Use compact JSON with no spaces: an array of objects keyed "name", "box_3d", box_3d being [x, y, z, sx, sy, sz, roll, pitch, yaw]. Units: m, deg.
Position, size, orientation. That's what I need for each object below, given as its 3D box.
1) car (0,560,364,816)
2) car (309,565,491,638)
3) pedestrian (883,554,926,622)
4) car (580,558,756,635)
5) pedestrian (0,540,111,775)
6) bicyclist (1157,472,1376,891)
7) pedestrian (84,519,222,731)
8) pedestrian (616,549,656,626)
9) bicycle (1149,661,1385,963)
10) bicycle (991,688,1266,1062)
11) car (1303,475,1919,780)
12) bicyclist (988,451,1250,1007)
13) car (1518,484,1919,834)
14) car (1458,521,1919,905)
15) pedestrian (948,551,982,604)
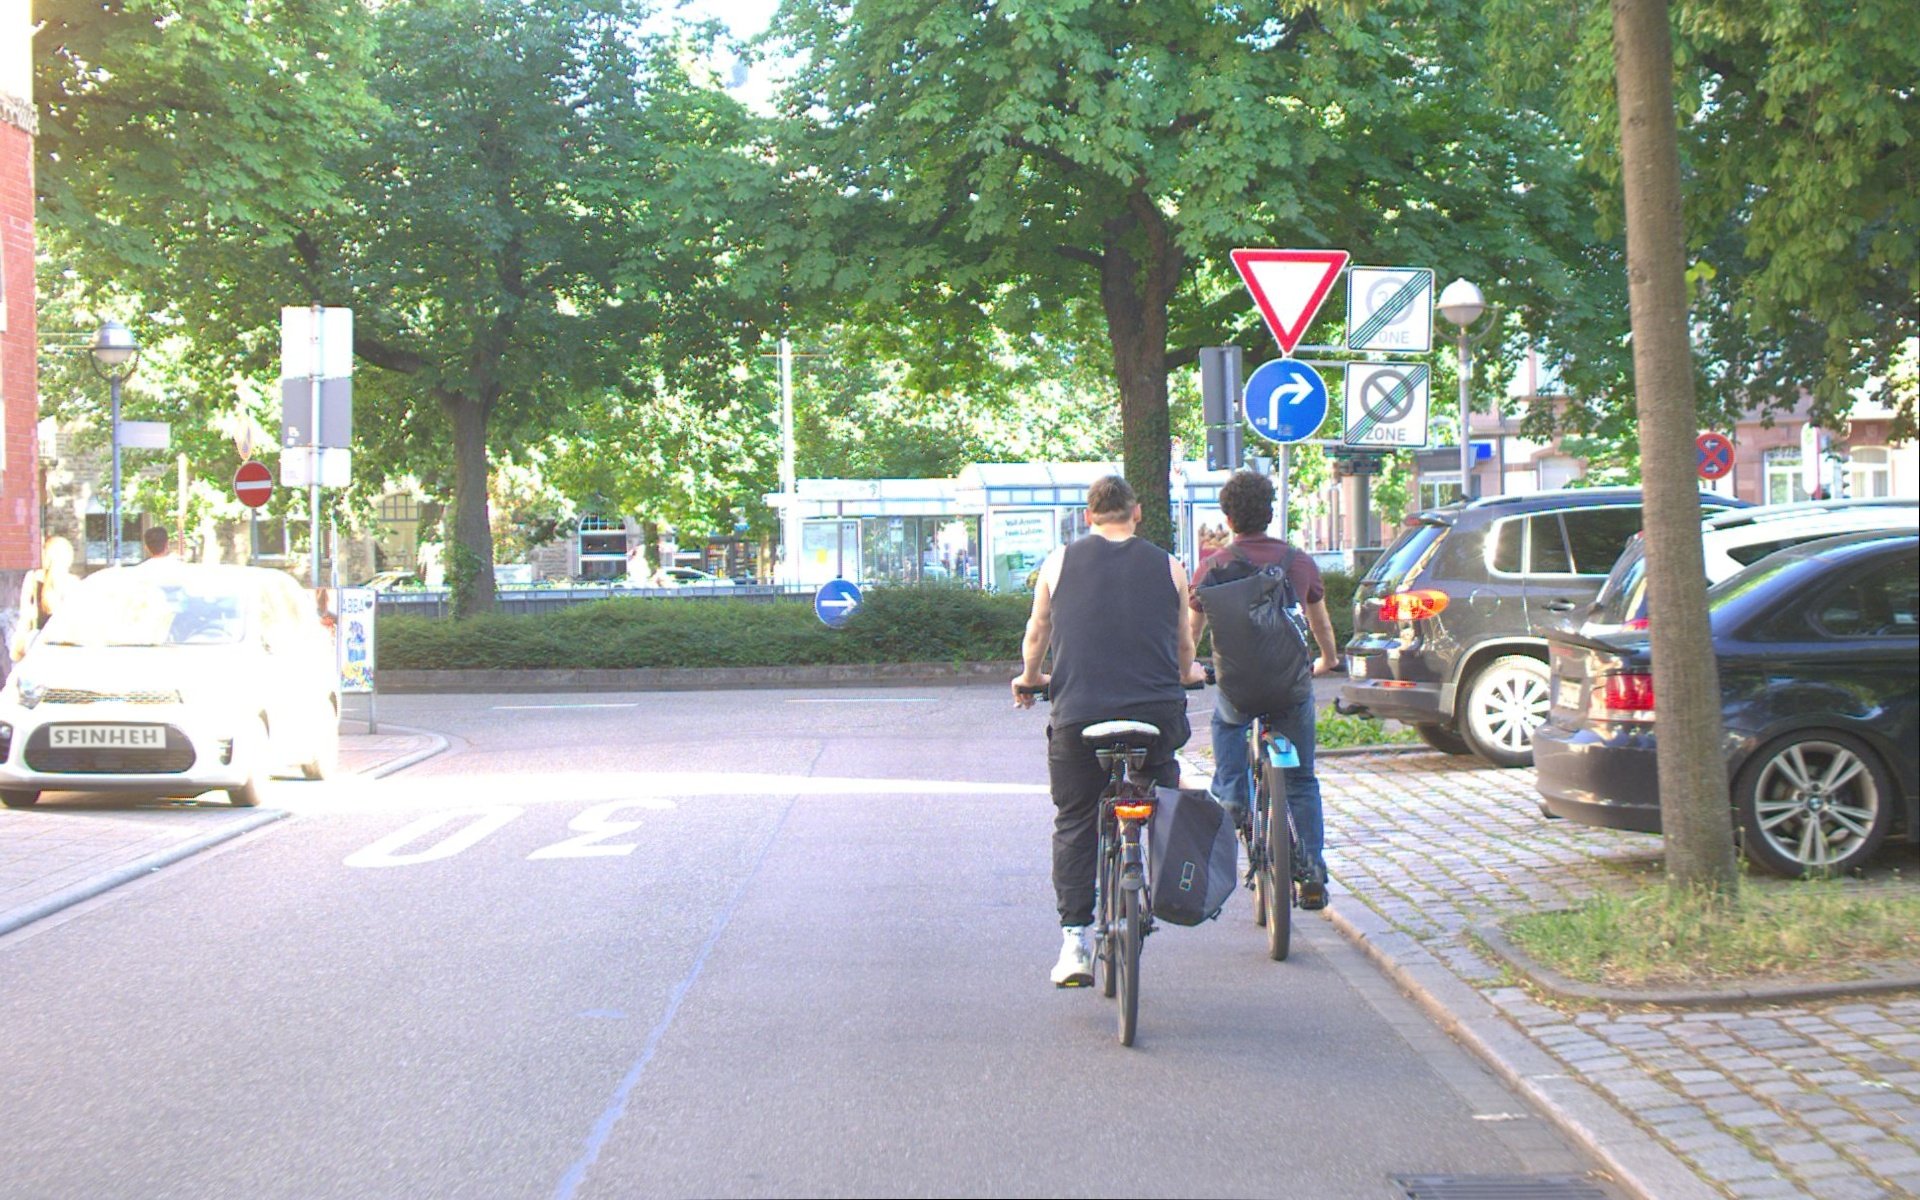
[{"name":"car","box_3d":[-5.048,0.499,22.265,1.705,1.480,3.797,1,1,0]},{"name":"car","box_3d":[-13.617,0.032,83.724,3.938,1.673,1.953,-2,1,-44]},{"name":"pedestrian","box_3d":[-1.273,-0.274,78.699,0.809,1.538,0.821,1,0,-11]},{"name":"car","box_3d":[-7.467,-0.104,87.871,3.986,1.864,2.000,-1,1,-26]},{"name":"pedestrian","box_3d":[-6.350,0.389,24.021,0.600,1.599,0.855,-1,1,0]},{"name":"bicyclist","box_3d":[1.144,0.298,13.019,0.671,1.509,1.069,-1,0,-2]},{"name":"pedestrian","box_3d":[-6.362,0.188,27.139,0.867,1.637,0.860,-1,1,0]},{"name":"pedestrian","box_3d":[-7.174,-0.286,76.142,0.701,1.689,0.671,1,0,-22]},{"name":"bicycle","box_3d":[1.146,0.772,13.229,0.674,1.050,2.061,-1,-1,-1]},{"name":"bicycle","box_3d":[0.495,0.821,10.953,0.737,1.008,2.061,1,0,0]},{"name":"car","box_3d":[4.417,0.124,21.813,4.105,1.707,2.024,-2,1,-5]},{"name":"bicyclist","box_3d":[0.488,0.387,10.913,0.752,1.676,0.913,-1,1,0]},{"name":"car","box_3d":[4.760,0.258,17.210,3.693,1.645,1.704,-1,1,3]},{"name":"car","box_3d":[4.318,0.362,14.455,4.104,1.407,1.792,-4,1,0]},{"name":"pedestrian","box_3d":[0.160,-0.715,108.548,1.000,1.625,1.064,-1,1,-2]}]
